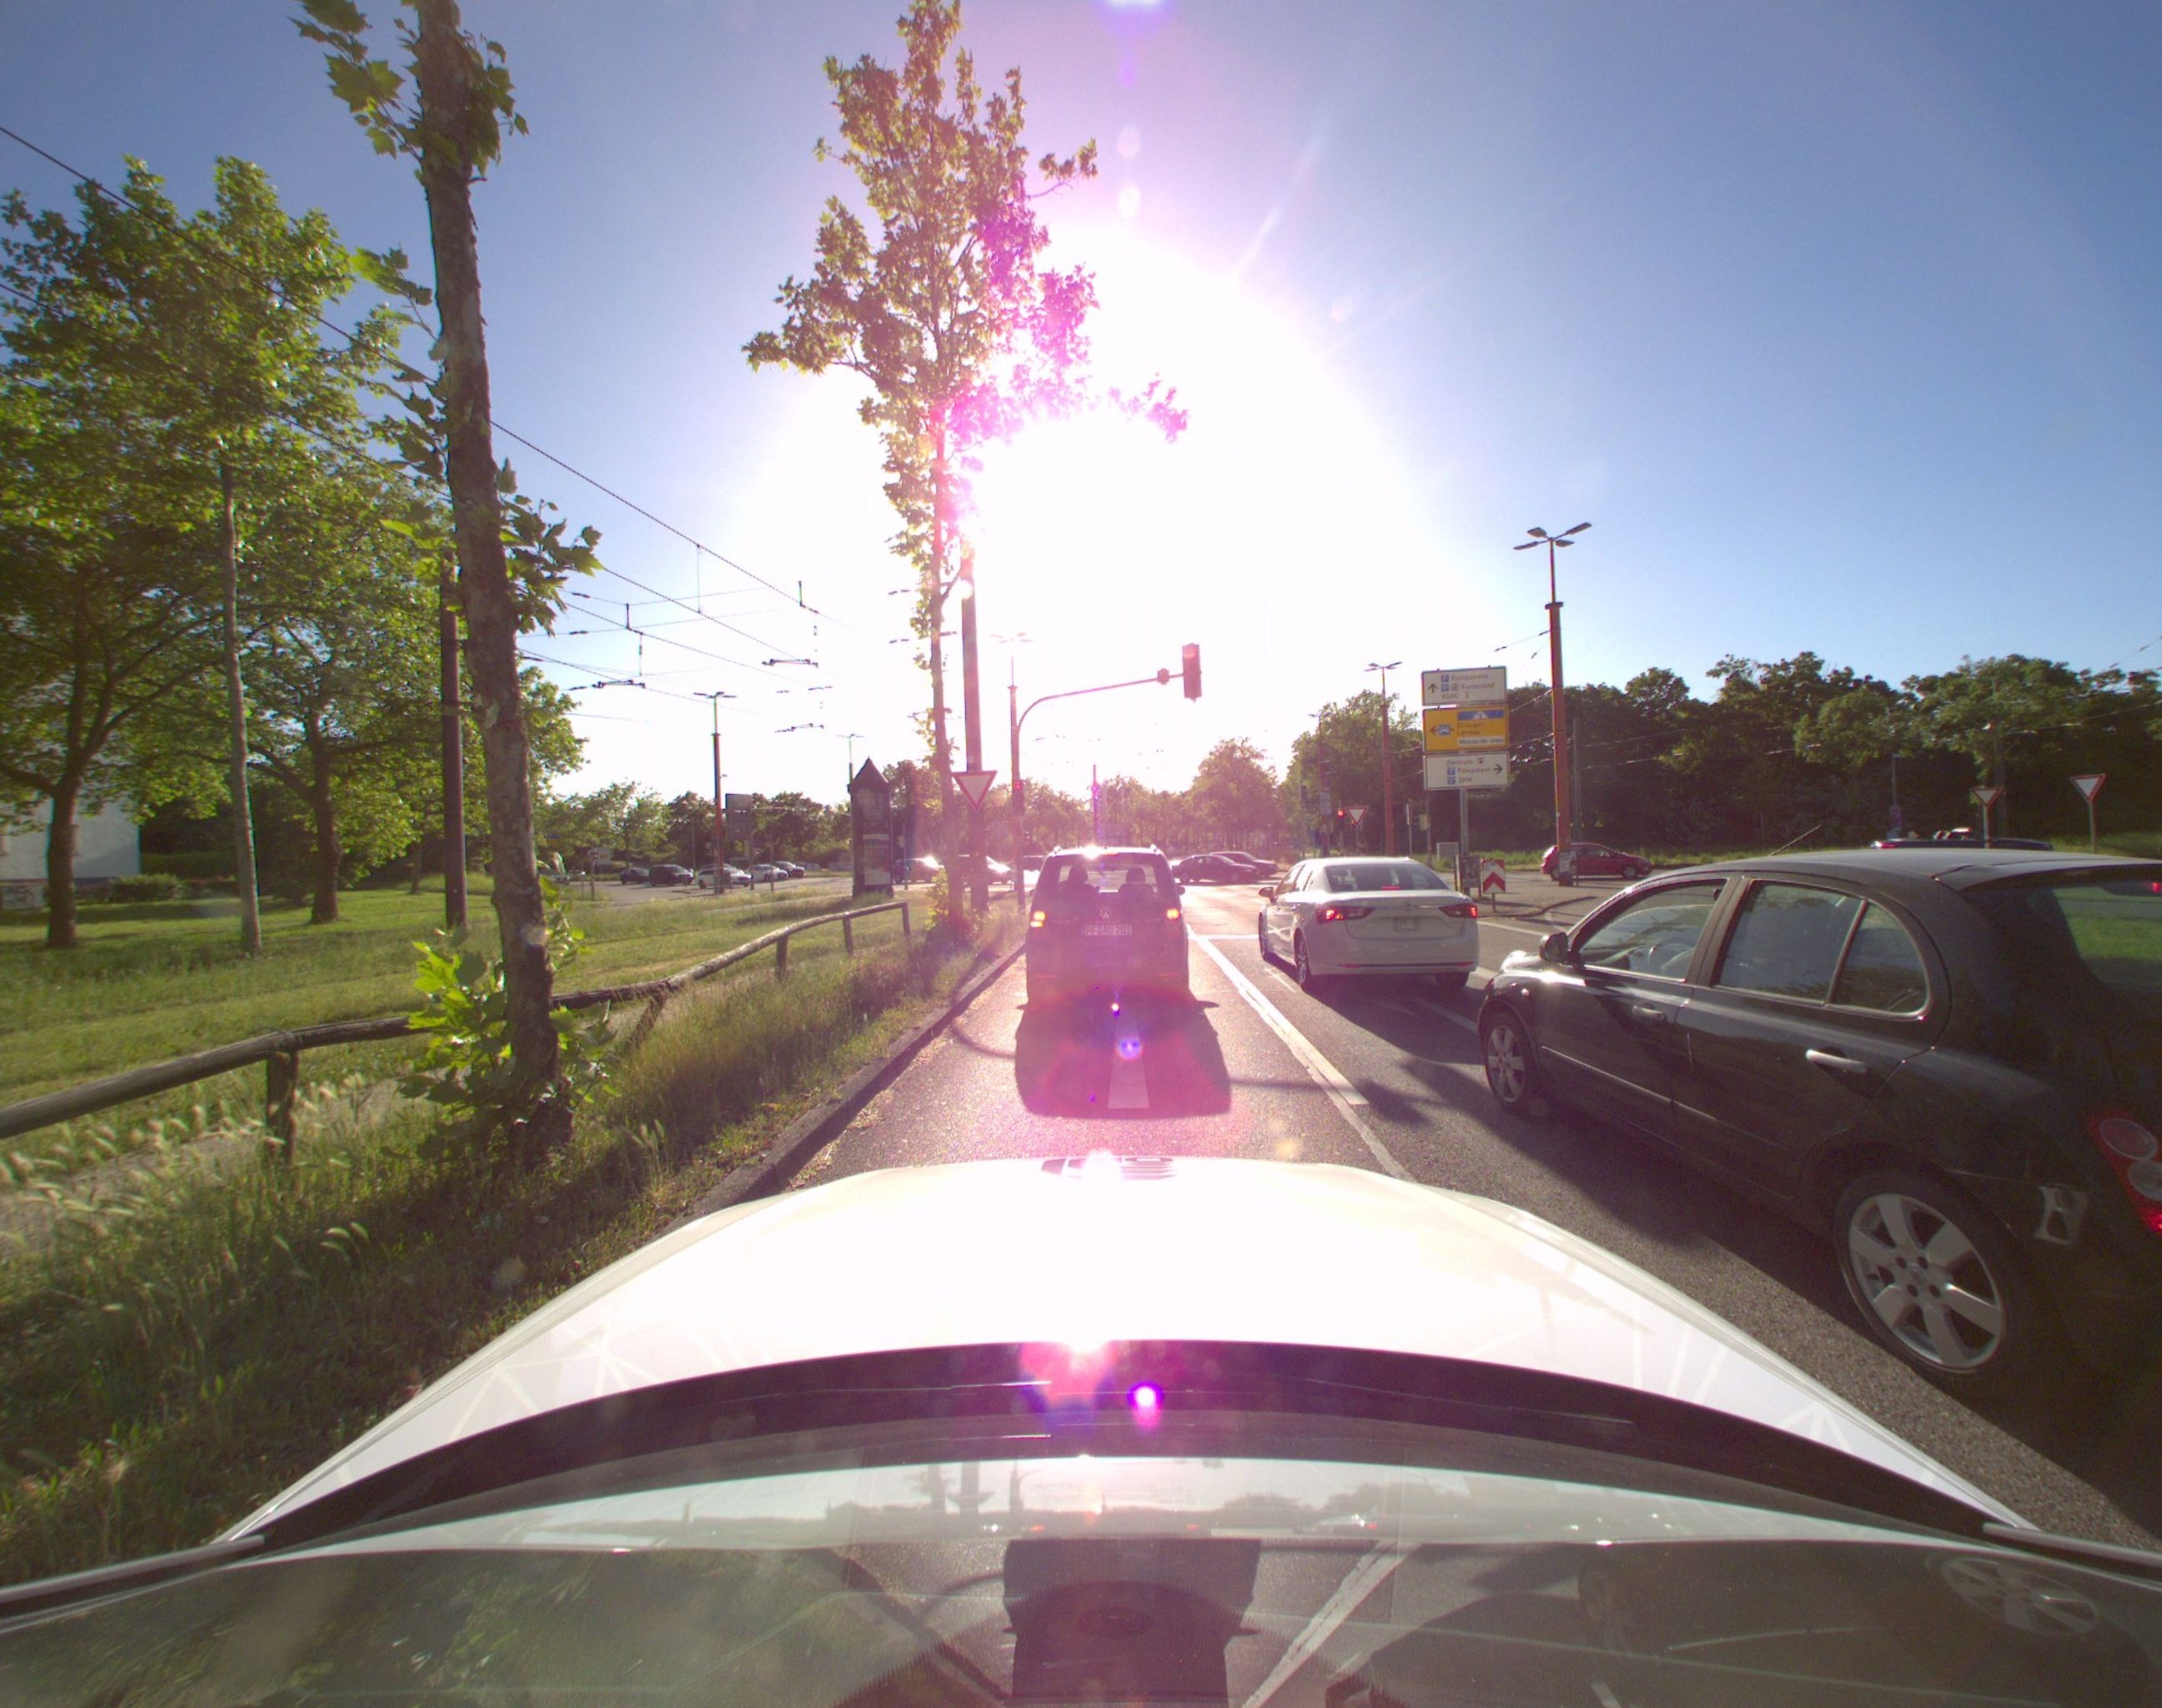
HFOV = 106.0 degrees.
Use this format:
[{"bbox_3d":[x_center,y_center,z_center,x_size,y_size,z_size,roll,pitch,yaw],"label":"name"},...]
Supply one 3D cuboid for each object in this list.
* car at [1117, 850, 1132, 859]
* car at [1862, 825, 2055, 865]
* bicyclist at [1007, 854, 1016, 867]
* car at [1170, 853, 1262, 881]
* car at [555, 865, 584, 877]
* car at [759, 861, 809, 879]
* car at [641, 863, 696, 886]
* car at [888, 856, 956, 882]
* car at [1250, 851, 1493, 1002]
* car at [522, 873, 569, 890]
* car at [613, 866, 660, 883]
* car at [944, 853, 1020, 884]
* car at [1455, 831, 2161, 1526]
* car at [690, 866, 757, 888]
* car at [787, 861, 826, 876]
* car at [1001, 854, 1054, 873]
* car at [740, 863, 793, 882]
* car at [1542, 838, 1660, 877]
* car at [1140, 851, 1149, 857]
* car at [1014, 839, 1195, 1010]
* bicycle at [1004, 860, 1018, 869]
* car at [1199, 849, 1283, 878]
[{"bbox_3d":[8.553,0.134,158.867,1.980,1.684,4.846,-2,0,13],"label":"car"},{"bbox_3d":[32.977,-0.317,30.816,4.608,1.362,1.782,-2,0,31],"label":"car"},{"bbox_3d":[-8.116,0.758,95.016,0.686,1.457,0.879,-2,-1,20],"label":"bicyclist"},{"bbox_3d":[6.923,0.694,41.880,4.263,1.327,1.772,-2,0,30],"label":"car"},{"bbox_3d":[-73.737,2.416,117.401,3.949,1.580,1.872,-2,0,29],"label":"car"},{"bbox_3d":[-26.532,1.448,72.659,4.169,1.464,1.926,-2,0,29],"label":"car"},{"bbox_3d":[-35.653,1.798,70.350,4.735,1.836,1.926,-2,0,29],"label":"car"},{"bbox_3d":[-11.010,1.068,56.288,4.507,1.668,1.854,-2,0,30],"label":"car"},{"bbox_3d":[3.298,0.718,10.119,1.708,1.454,4.147,-2,0,3],"label":"car"},{"bbox_3d":[-52.820,2.701,80.328,4.735,1.598,1.926,-2,0,29],"label":"car"},{"bbox_3d":[-42.357,1.985,77.649,4.187,1.464,1.926,-2,0,28],"label":"car"},{"bbox_3d":[-6.023,0.896,49.533,4.302,1.732,1.854,-2,0,30],"label":"car"},{"bbox_3d":[3.168,0.692,3.515,1.550,1.506,3.517,-2,0,2],"label":"car"},{"bbox_3d":[-26.694,1.729,60.768,4.867,1.575,2.012,-2,0,30],"label":"car"},{"bbox_3d":[-31.270,1.705,92.882,3.949,1.580,2.012,-2,0,29],"label":"car"},{"bbox_3d":[-4.898,0.868,74.478,4.411,1.596,2.012,-2,0,28],"label":"car"},{"bbox_3d":[-26.771,1.590,69.254,4.169,1.464,1.926,-2,0,29],"label":"car"},{"bbox_3d":[21.257,0.151,33.504,3.949,1.494,1.782,-2,0,29],"label":"car"},{"bbox_3d":[14.852,0.049,190.397,1.648,1.310,3.824,-2,0,9],"label":"car"},{"bbox_3d":[0.296,0.695,9.991,1.731,1.641,4.002,-2,0,2],"label":"car"},{"bbox_3d":[-8.147,1.224,94.795,0.728,1.090,1.971,-2,0,21],"label":"bicycle"},{"bbox_3d":[8.832,0.517,45.083,4.179,1.479,1.765,-2,0,32],"label":"car"}]
